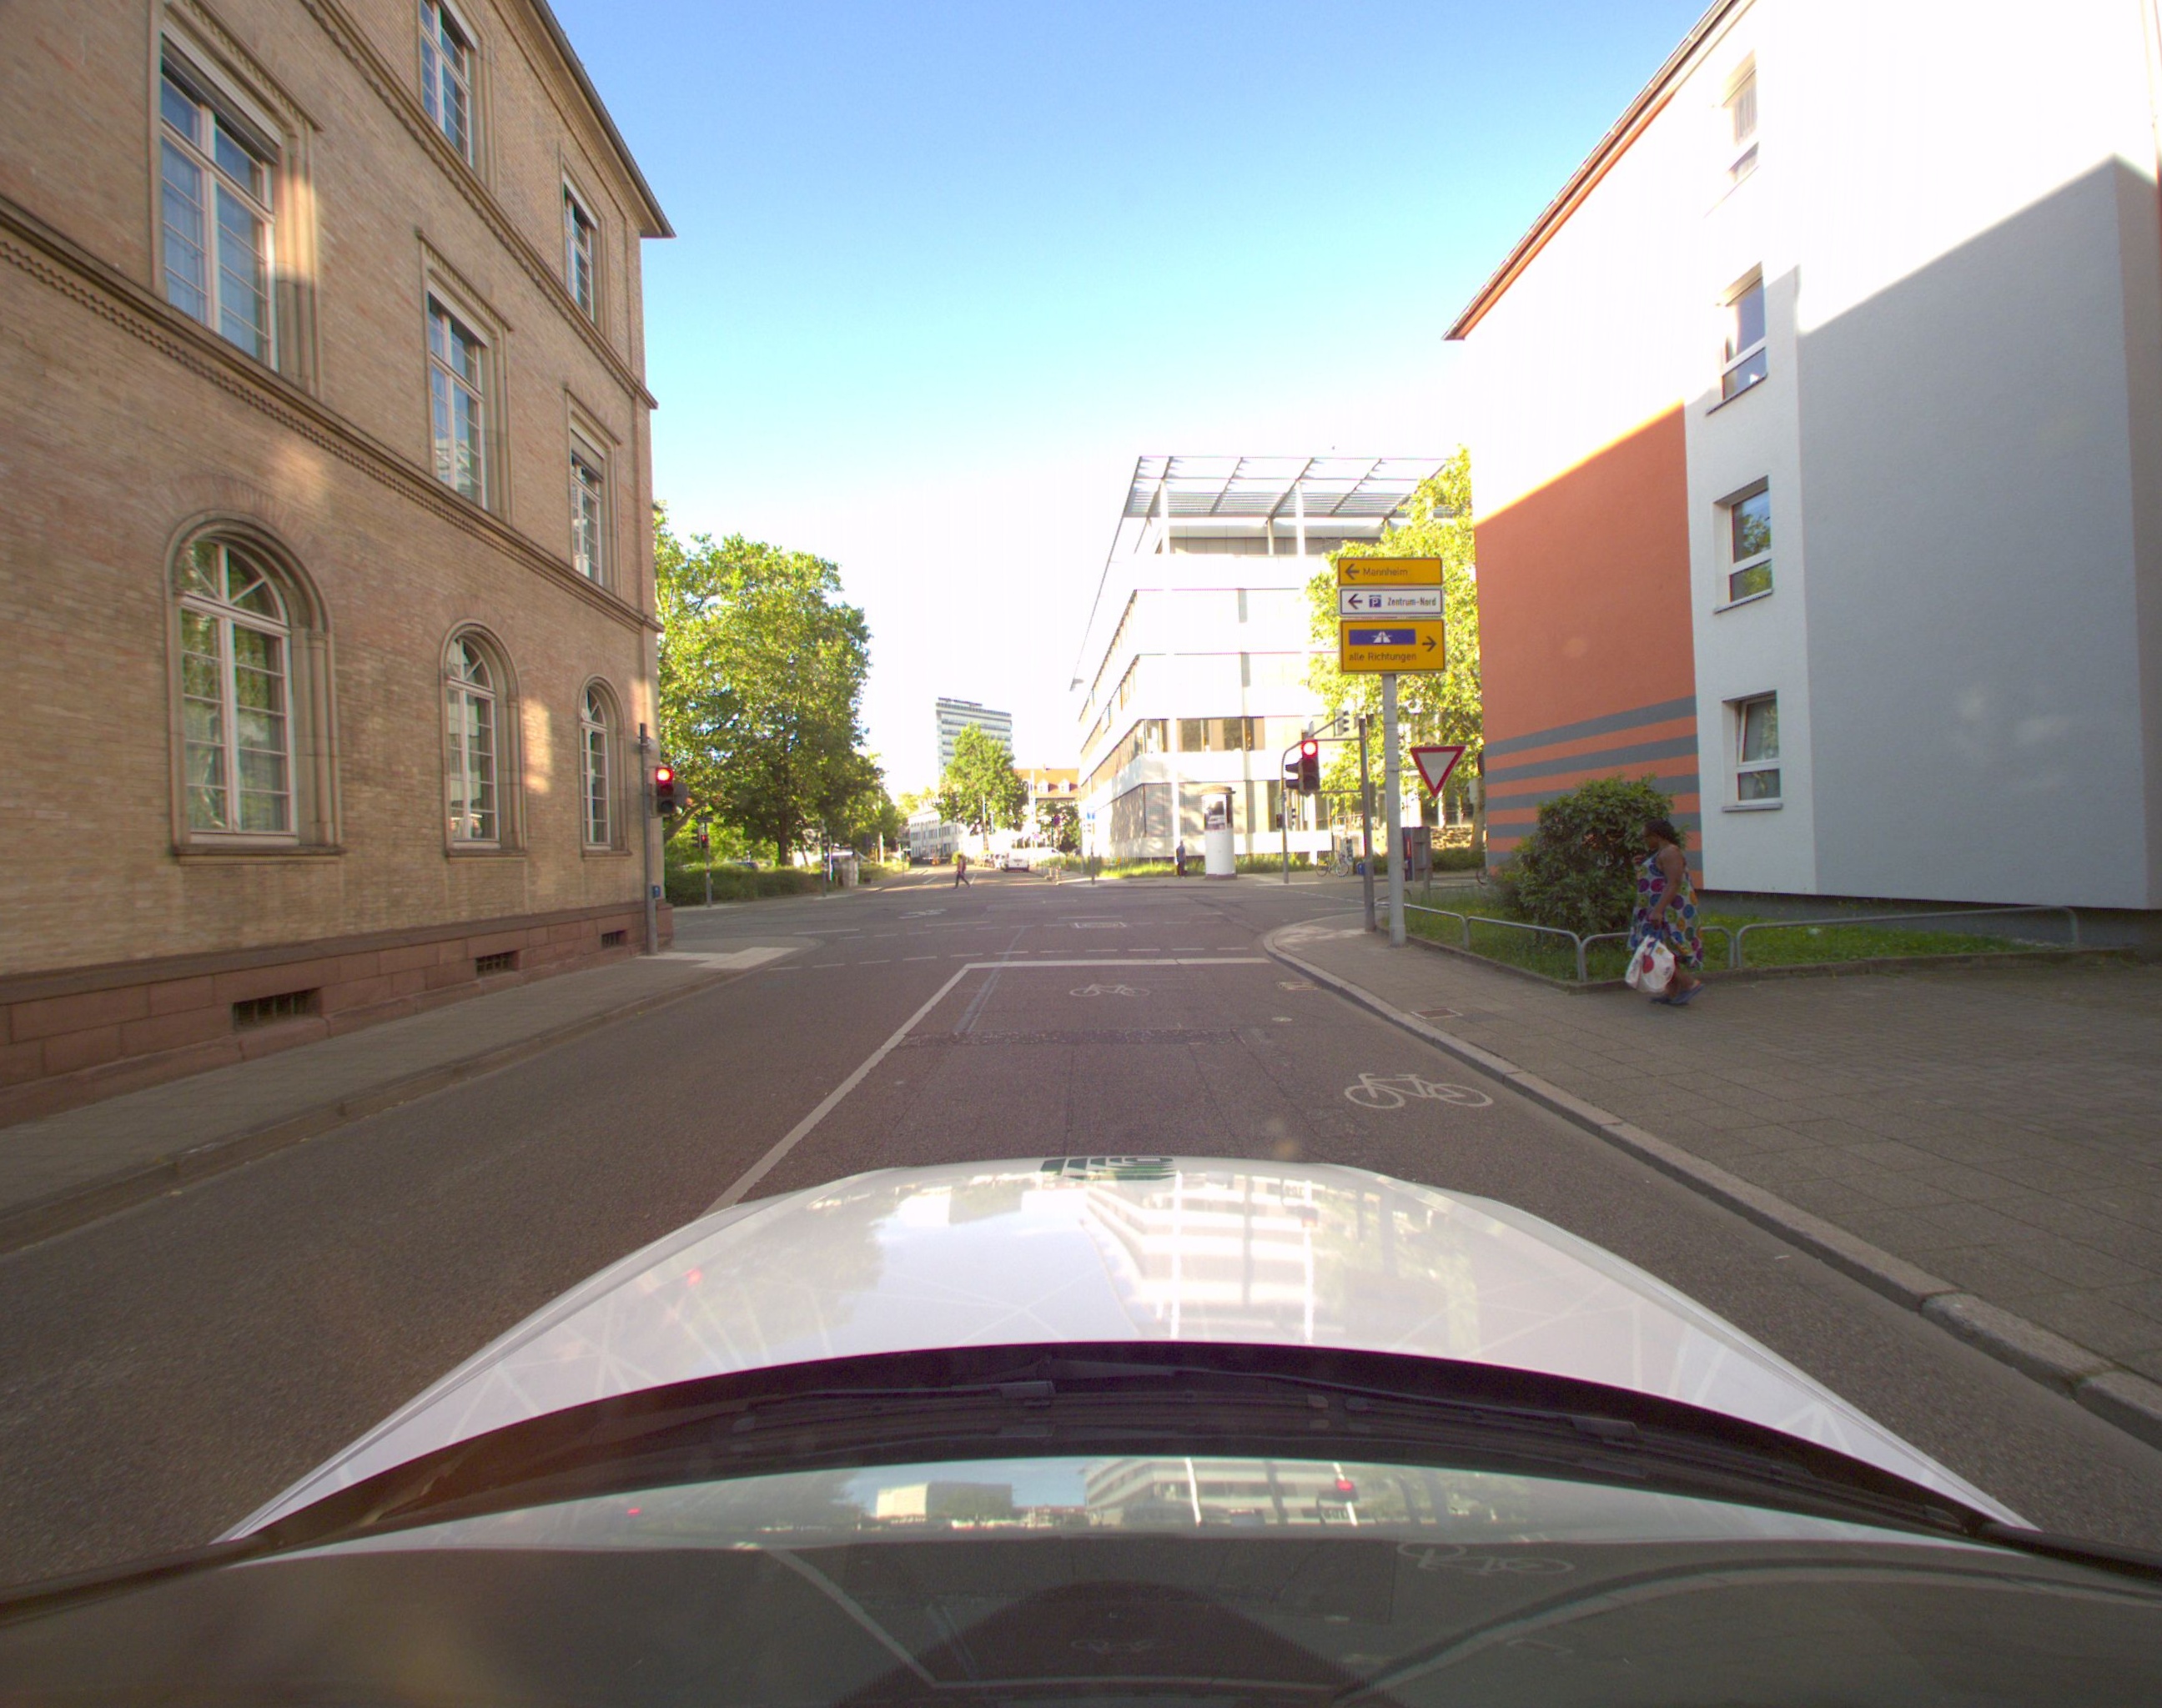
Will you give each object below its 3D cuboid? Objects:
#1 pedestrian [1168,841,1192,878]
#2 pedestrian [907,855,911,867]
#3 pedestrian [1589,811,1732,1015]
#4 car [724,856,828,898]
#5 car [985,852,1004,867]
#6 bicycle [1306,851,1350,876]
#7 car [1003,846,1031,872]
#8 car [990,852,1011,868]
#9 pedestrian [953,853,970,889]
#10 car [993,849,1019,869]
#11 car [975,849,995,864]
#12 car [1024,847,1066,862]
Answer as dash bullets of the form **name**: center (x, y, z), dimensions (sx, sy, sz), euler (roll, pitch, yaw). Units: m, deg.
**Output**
- **pedestrian**: center (4.722, 0.270, 38.839), dimensions (0.658, 1.736, 0.802), euler (-2, 0, -43)
- **pedestrian**: center (-22.926, 0.931, 108.647), dimensions (0.380, 1.534, 0.444), euler (-2, 0, -10)
- **pedestrian**: center (4.828, 0.459, 6.859), dimensions (0.741, 1.573, 0.963), euler (-4, 0, 26)
- **car**: center (-14.403, 1.056, 38.634), dimensions (4.219, 1.777, 1.901), euler (-2, 0, -7)
- **car**: center (-9.201, 0.544, 86.239), dimensions (1.704, 1.464, 4.225), euler (-2, 0, -9)
- **bicycle**: center (10.899, 0.427, 35.991), dimensions (0.467, 1.049, 1.893), euler (-2, 0, -40)
- **car**: center (-5.132, 0.384, 64.930), dimensions (2.065, 1.963, 4.228), euler (-2, 0, -7)
- **car**: center (-8.104, 0.587, 81.705), dimensions (1.705, 1.424, 4.221), euler (-2, 0, -11)
- **pedestrian**: center (-5.398, 0.769, 36.814), dimensions (0.711, 1.599, 0.616), euler (-2, 0, -6)
- **car**: center (-7.101, 0.455, 76.905), dimensions (1.947, 1.795, 4.223), euler (-2, 0, -11)
- **car**: center (-11.317, 0.294, 96.120), dimensions (2.100, 1.658, 4.461), euler (-2, 0, -9)
- **car**: center (-4.570, 0.044, 103.150), dimensions (4.889, 1.872, 1.990), euler (-1, -1, -15)
